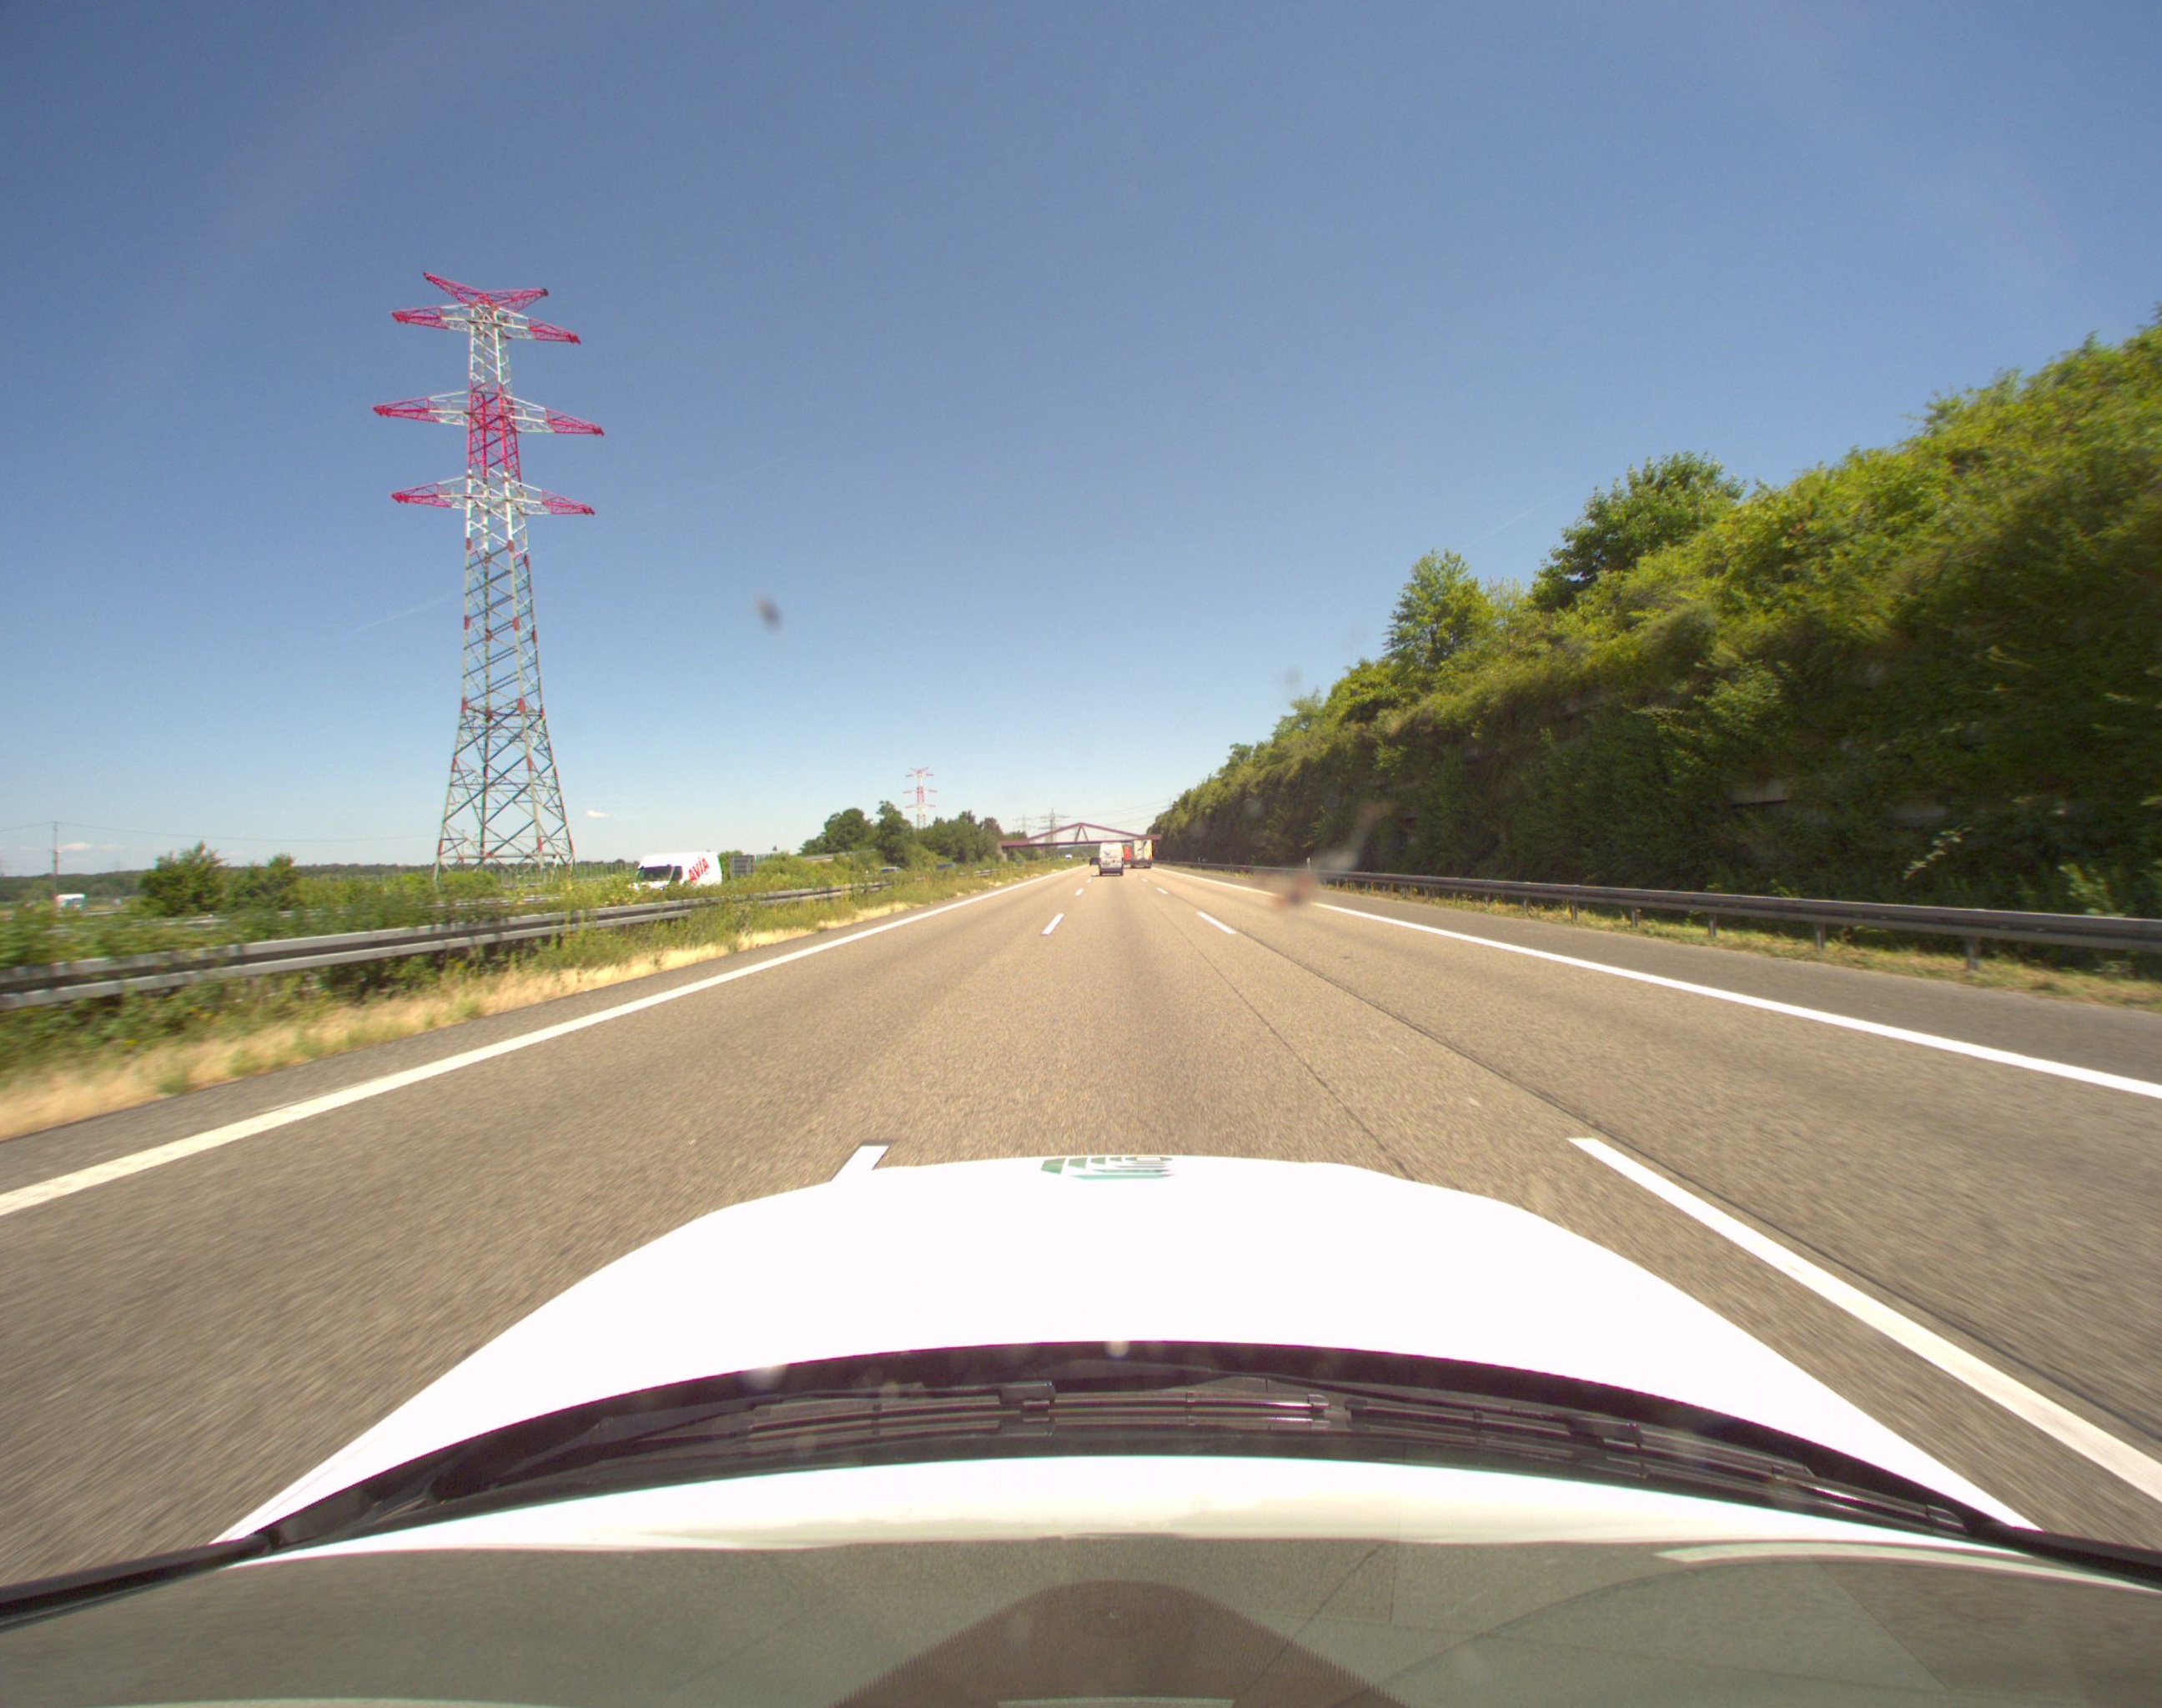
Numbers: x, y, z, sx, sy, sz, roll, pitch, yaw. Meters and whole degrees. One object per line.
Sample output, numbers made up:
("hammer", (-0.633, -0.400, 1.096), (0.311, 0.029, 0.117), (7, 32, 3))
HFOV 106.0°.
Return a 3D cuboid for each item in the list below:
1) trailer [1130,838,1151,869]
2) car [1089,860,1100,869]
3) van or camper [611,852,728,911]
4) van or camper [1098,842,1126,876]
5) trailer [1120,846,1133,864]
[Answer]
("trailer", (8.213, -0.059, 113.780), (2.627, 4.060, 12.373), (0, 0, 3))
("car", (2.783, 2.042, 162.389), (1.974, 1.817, 3.816), (0, 0, 3))
("van or camper", (-19.174, 1.190, 38.378), (2.051, 2.524, 6.392), (0, 0, 2))
("van or camper", (2.597, 0.423, 68.948), (2.222, 2.782, 5.425), (0, 0, 2))
("trailer", (9.940, 0.205, 178.241), (2.627, 3.897, 7.073), (0, 0, 2))
